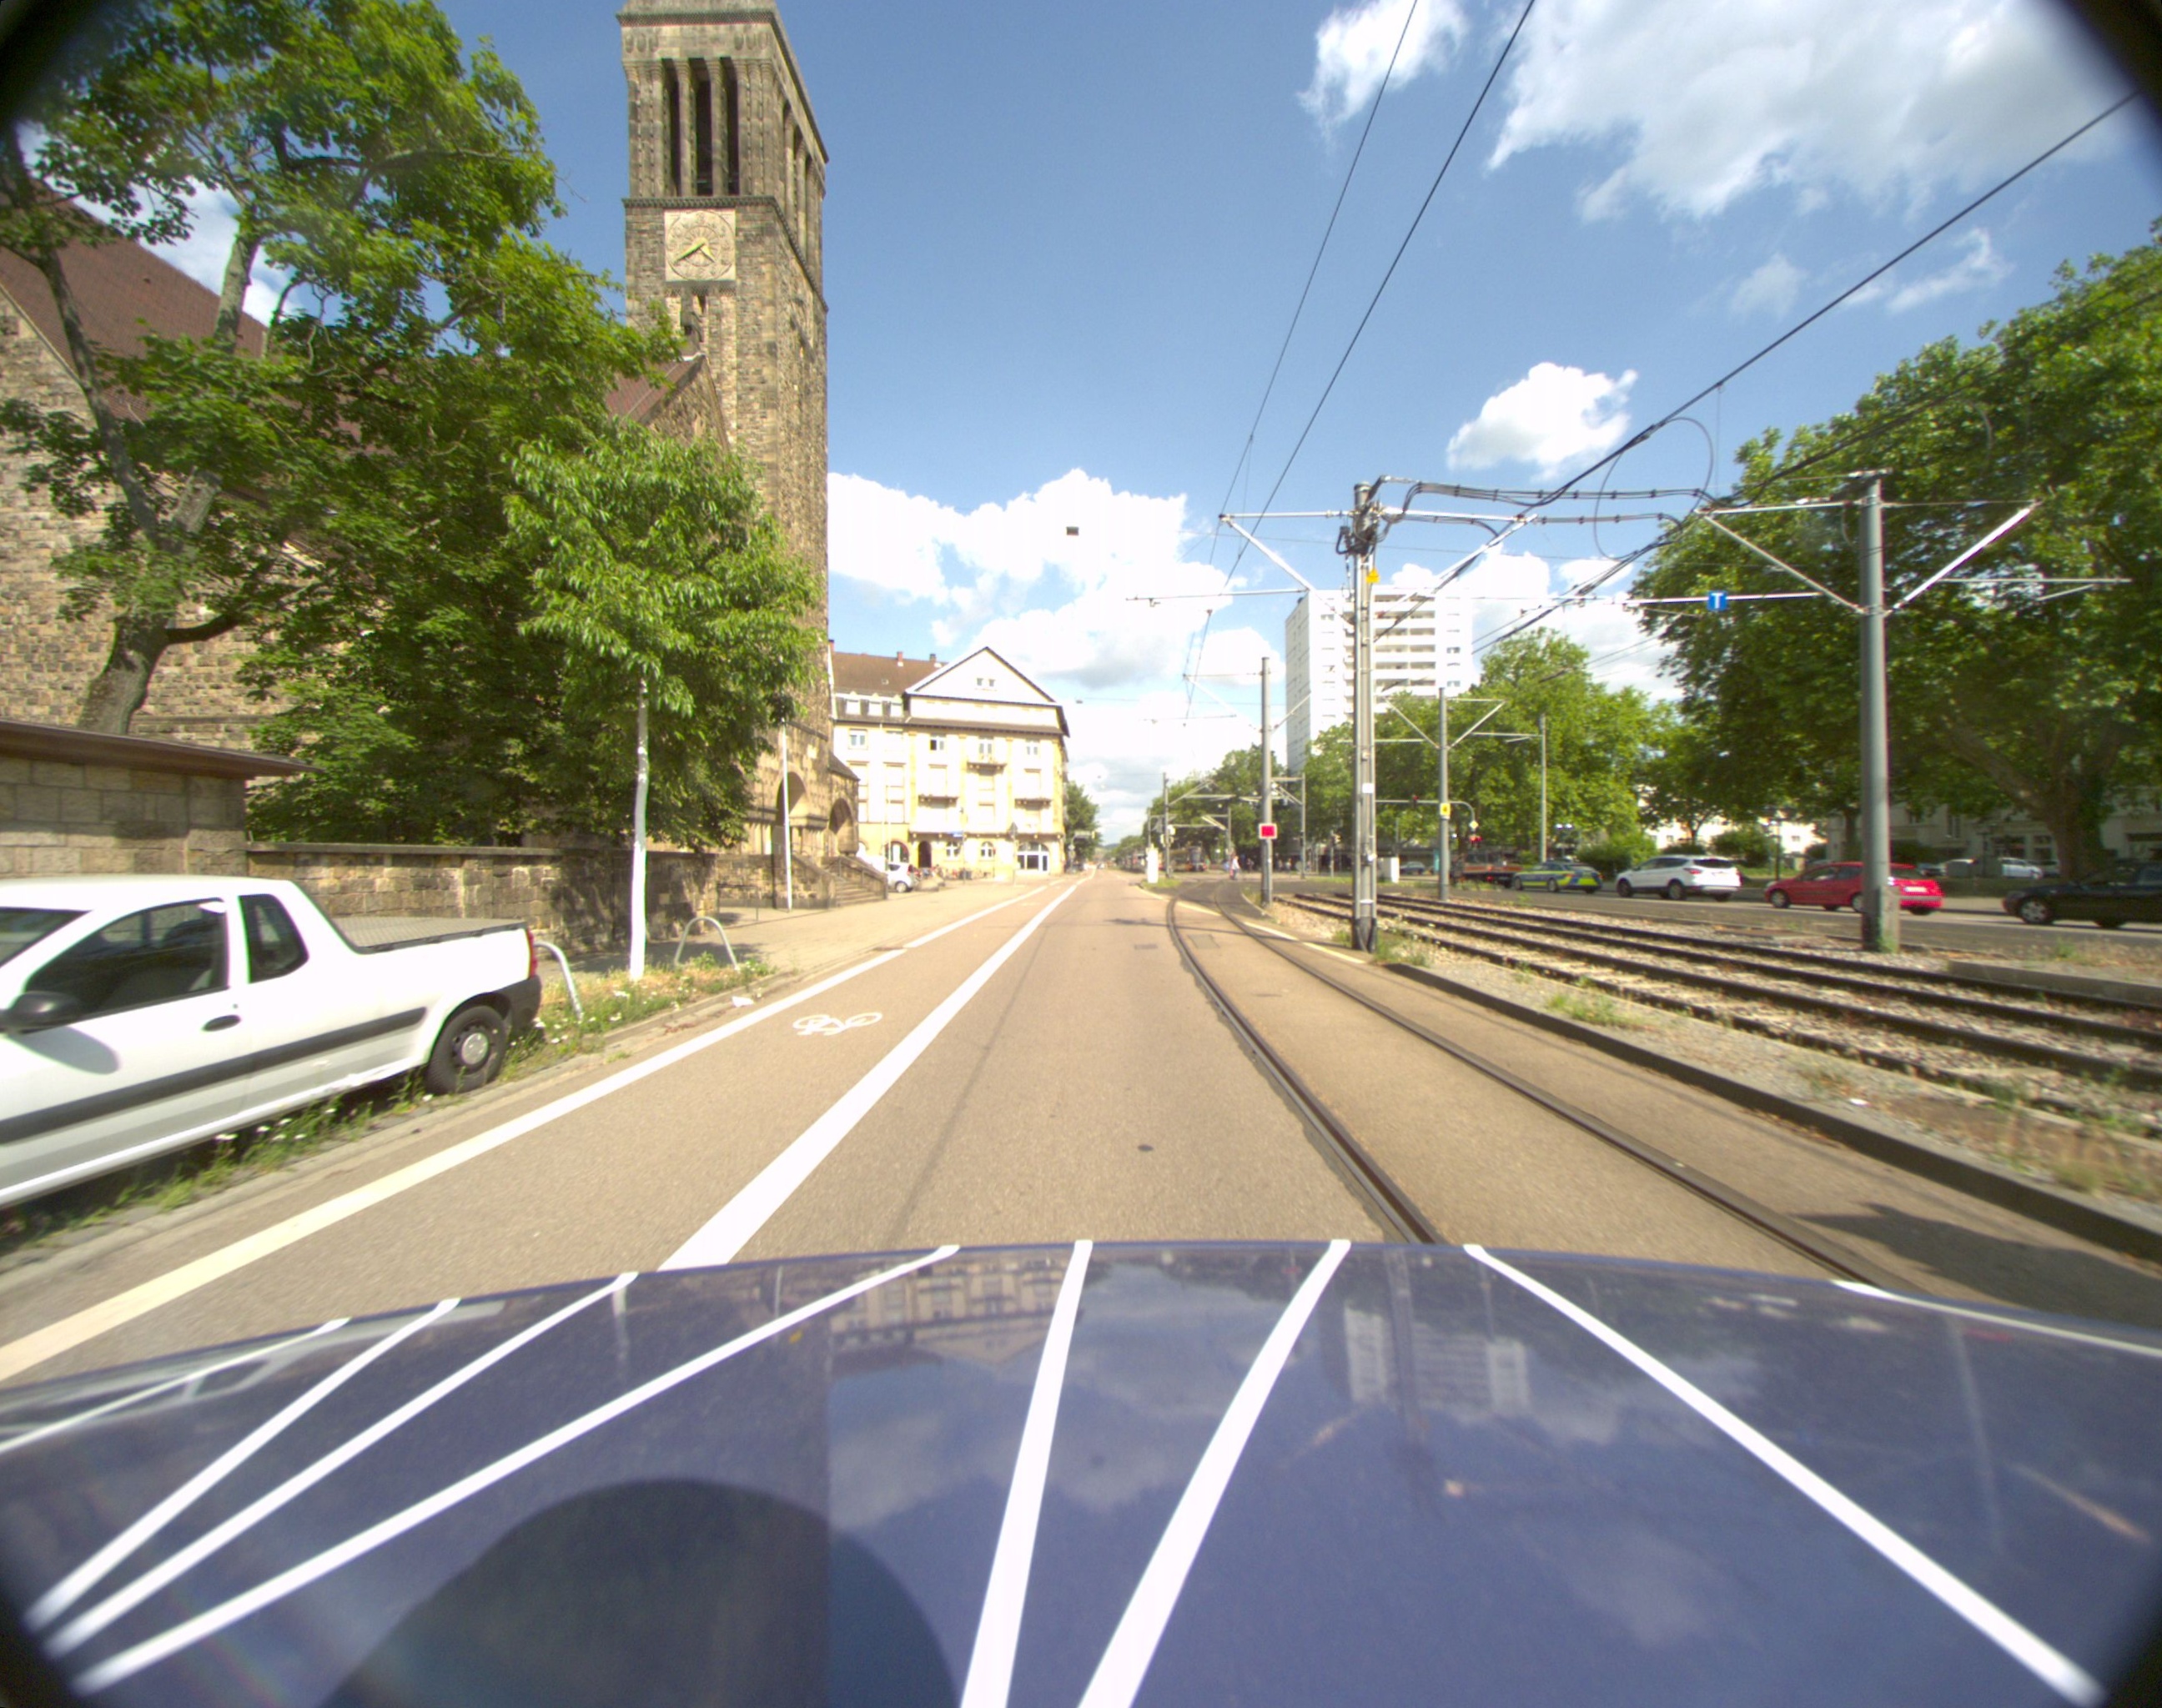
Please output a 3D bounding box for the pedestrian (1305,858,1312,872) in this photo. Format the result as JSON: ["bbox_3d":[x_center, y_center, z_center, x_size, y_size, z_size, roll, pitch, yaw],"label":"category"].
[{"bbox_3d":[27.608,1.359,92.256,0.671,1.693,0.648,-1,0,4],"label":"pedestrian"}]

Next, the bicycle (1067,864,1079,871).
[{"bbox_3d":[-1.223,1.993,112.158,1.693,0.980,0.497,-1,0,-1],"label":"bicycle"}]

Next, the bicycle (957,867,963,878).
[{"bbox_3d":[-11.650,1.754,72.861,0.540,1.013,1.926,0,2,-10],"label":"bicycle"}]

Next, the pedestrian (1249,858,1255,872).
[{"bbox_3d":[20.777,1.333,92.398,0.671,1.693,0.648,-1,0,4],"label":"pedestrian"}]

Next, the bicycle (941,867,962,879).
[{"bbox_3d":[-12.074,1.801,71.064,1.932,1.013,0.538,-1,3,-40],"label":"bicycle"}]

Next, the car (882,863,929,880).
[{"bbox_3d":[-16.357,1.605,70.635,3.988,1.433,1.972,1,2,30],"label":"car"}]

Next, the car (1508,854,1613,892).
[{"bbox_3d":[22.578,0.859,36.065,1.871,1.642,5.154,1,-1,2],"label":"car"}]

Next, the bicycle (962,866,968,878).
[{"bbox_3d":[-11.140,1.742,73.188,0.540,1.013,1.926,0,2,-10],"label":"bicycle"}]

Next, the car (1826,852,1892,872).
[{"bbox_3d":[69.446,0.720,67.880,4.081,1.649,1.851,-1,0,-2],"label":"car"}]

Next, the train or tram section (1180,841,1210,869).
[{"bbox_3d":[15.642,0.182,104.997,2.802,3.540,11.379,-1,0,3],"label":"train or tram section"}]

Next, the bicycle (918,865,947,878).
[{"bbox_3d":[-11.667,1.377,59.799,2.137,0.983,0.651,0,-1,-28],"label":"bicycle"}]

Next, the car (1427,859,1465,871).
[{"bbox_3d":[44.253,1.313,92.211,4.080,1.481,1.858,0,0,-20],"label":"car"}]

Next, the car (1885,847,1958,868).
[{"bbox_3d":[69.543,0.329,62.895,3.998,1.674,1.999,-1,0,-4],"label":"car"}]

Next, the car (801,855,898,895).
[{"bbox_3d":[-10.909,0.991,36.015,4.012,1.813,1.863,-1,-1,-1],"label":"car"}]

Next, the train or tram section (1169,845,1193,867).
[{"bbox_3d":[16.663,0.323,127.835,2.812,3.540,12.159,-1,0,2],"label":"train or tram section"}]

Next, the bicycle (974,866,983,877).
[{"bbox_3d":[-10.073,1.699,74.798,0.610,1.013,1.874,0,2,-15],"label":"bicycle"}]

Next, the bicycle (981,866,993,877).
[{"bbox_3d":[-9.324,1.704,75.049,0.611,1.013,1.872,-1,2,-27],"label":"bicycle"}]

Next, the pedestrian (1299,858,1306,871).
[{"bbox_3d":[27.564,1.316,94.458,0.671,1.693,0.648,-1,0,4],"label":"pedestrian"}]

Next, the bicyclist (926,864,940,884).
[{"bbox_3d":[-11.631,1.584,59.826,0.923,1.494,0.651,-1,-2,-28],"label":"bicyclist"}]

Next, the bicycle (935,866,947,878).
[{"bbox_3d":[-13.272,1.724,72.165,0.541,1.013,1.923,-1,2,-28],"label":"bicycle"}]

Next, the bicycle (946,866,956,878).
[{"bbox_3d":[-12.651,1.716,73.775,0.541,1.013,1.924,-1,2,-24],"label":"bicycle"}]

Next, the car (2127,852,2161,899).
[{"bbox_3d":[33.135,0.639,21.430,1.756,1.402,4.000,0,0,0],"label":"car"}]

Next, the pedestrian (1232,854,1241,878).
[{"bbox_3d":[10.940,0.849,53.453,0.528,1.722,0.557,0,0,-4],"label":"pedestrian"}]

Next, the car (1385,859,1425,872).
[{"bbox_3d":[38.273,1.297,89.769,4.002,1.481,1.859,0,0,-15],"label":"car"}]

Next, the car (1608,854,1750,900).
[{"bbox_3d":[22.312,0.818,28.623,1.764,1.597,4.680,0,0,1],"label":"car"}]

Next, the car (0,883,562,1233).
[{"bbox_3d":[-5.294,0.952,4.272,1.671,1.408,3.847,-2,-1,10],"label":"car"}]

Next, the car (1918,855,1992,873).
[{"bbox_3d":[69.074,0.795,60.084,3.942,1.346,1.868,-1,0,-4],"label":"car"}]

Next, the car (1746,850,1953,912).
[{"bbox_3d":[21.593,0.767,21.627,1.716,1.597,4.145,0,-2,1],"label":"car"}]

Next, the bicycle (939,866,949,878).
[{"bbox_3d":[-13.273,1.741,73.470,0.541,1.013,1.924,-1,2,-24],"label":"bicycle"}]

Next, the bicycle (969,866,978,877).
[{"bbox_3d":[-10.354,1.686,73.179,0.602,1.013,1.877,0,2,3],"label":"bicycle"}]

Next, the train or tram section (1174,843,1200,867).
[{"bbox_3d":[16.178,0.189,116.256,2.812,3.540,11.184,-1,0,2],"label":"train or tram section"}]

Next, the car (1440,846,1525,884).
[{"bbox_3d":[22.676,0.681,43.155,2.080,1.974,5.338,0,-2,1],"label":"car"}]

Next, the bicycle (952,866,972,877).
[{"bbox_3d":[-11.689,1.700,74.771,1.930,1.013,0.539,0,2,-20],"label":"bicycle"}]

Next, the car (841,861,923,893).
[{"bbox_3d":[-10.250,1.175,39.334,3.776,1.537,1.798,-1,-1,0],"label":"car"}]

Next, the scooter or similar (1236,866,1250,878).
[{"bbox_3d":[11.369,1.283,53.481,0.840,0.799,0.553,-1,0,-3],"label":"scooter or similar"}]

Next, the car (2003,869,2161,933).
[{"bbox_3d":[21.623,0.929,15.371,1.620,1.182,3.634,-1,-1,3],"label":"car"}]

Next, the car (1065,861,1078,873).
[{"bbox_3d":[-1.522,2.045,119.652,1.851,1.779,4.000,2,0,0],"label":"car"}]

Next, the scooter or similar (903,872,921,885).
[{"bbox_3d":[-13.072,1.887,58.701,1.133,0.971,0.888,0,-1,-28],"label":"scooter or similar"}]
